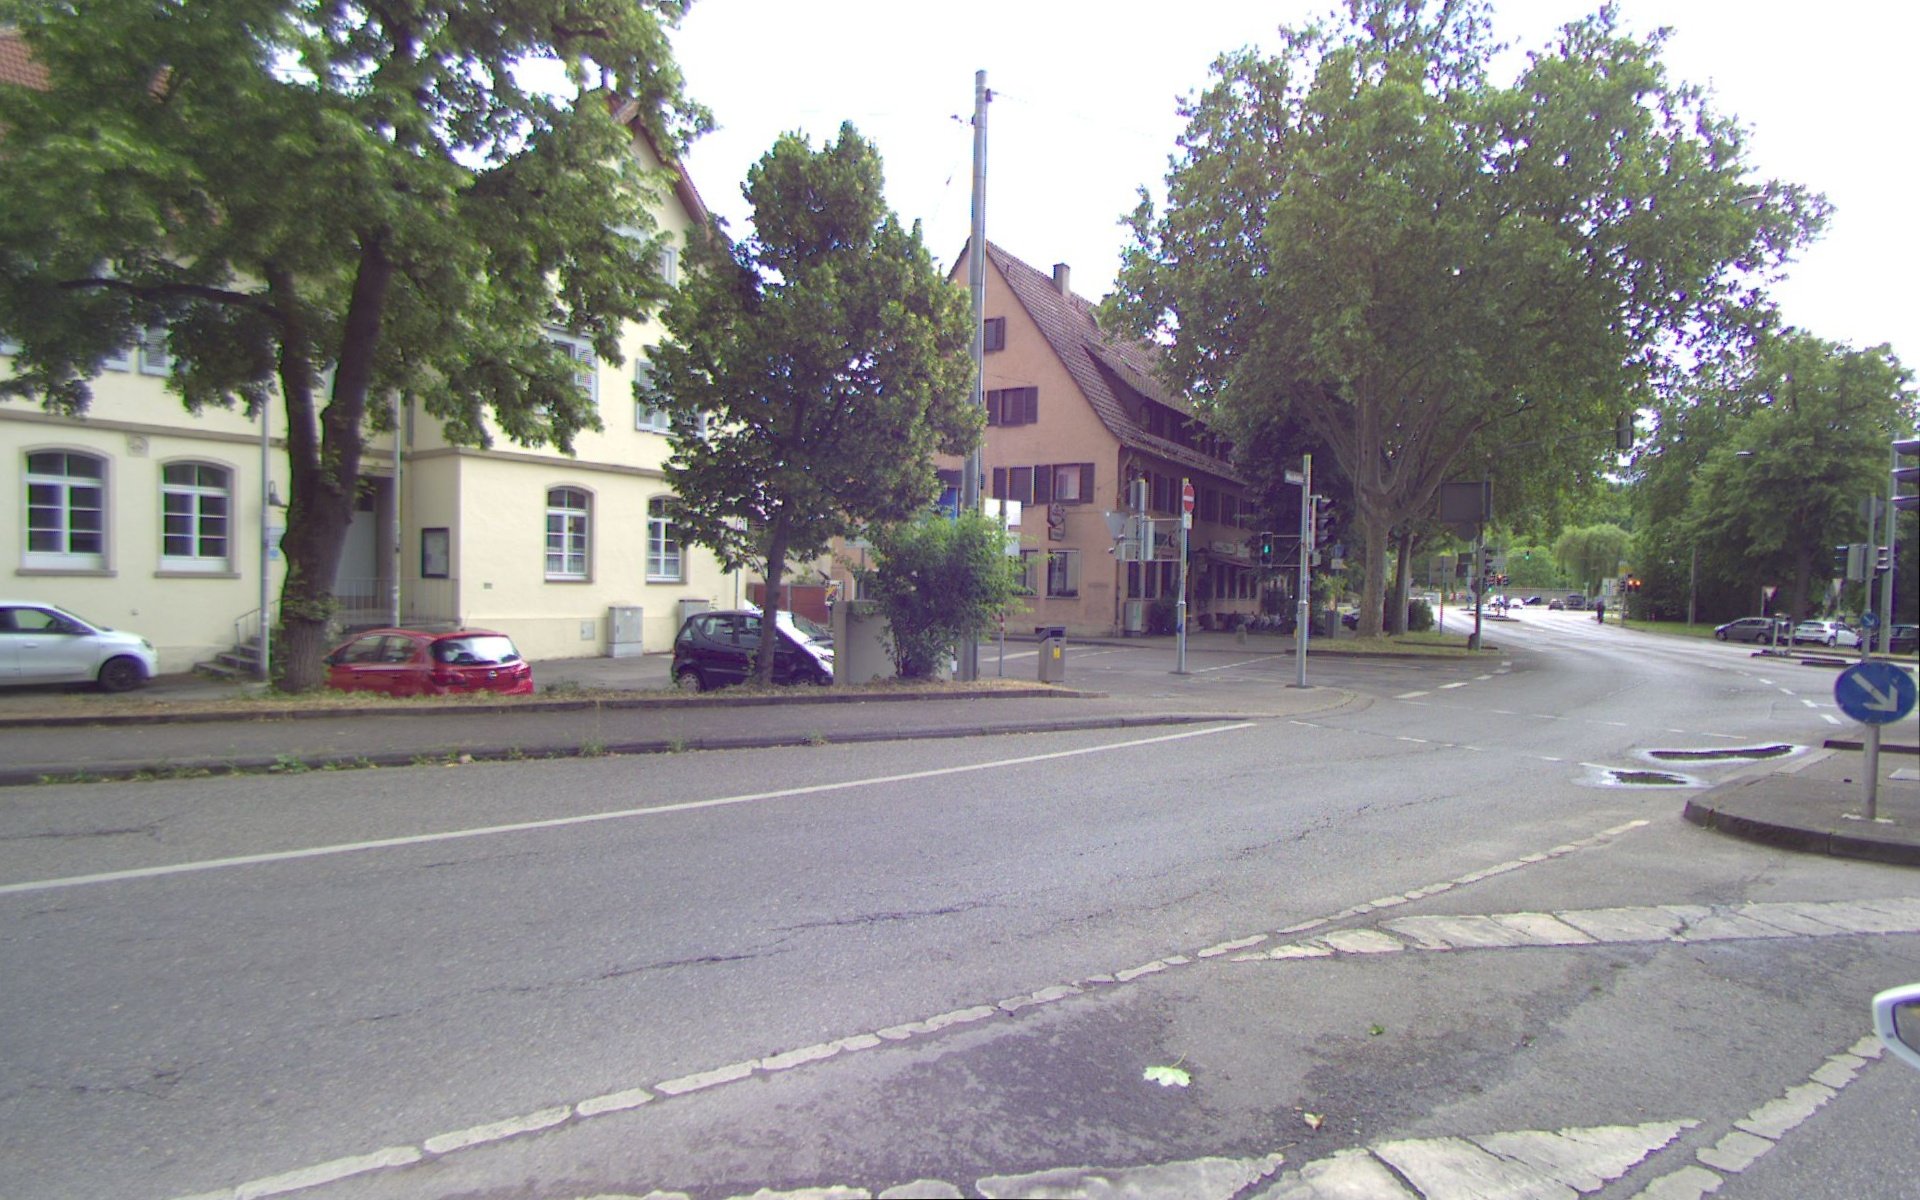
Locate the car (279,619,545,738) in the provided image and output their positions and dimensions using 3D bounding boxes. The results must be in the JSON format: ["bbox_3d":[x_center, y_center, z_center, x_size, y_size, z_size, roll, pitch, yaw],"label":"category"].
[{"bbox_3d":[-7.987,1.049,14.605,3.651,1.401,1.659,2,0,28],"label":"car"}]

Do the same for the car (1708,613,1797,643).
[{"bbox_3d":[44.862,1.569,56.930,1.593,1.485,3.777,1,0,-13],"label":"car"}]

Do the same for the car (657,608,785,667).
[{"bbox_3d":[-7.506,1.128,31.422,3.935,1.625,1.775,2,-1,37],"label":"car"}]

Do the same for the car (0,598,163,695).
[{"bbox_3d":[-15.573,0.742,16.651,1.585,1.499,3.423,2,0,37],"label":"car"}]

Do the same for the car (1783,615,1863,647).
[{"bbox_3d":[48.523,1.725,56.465,3.698,1.662,1.858,1,0,-21],"label":"car"}]

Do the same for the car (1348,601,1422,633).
[{"bbox_3d":[24.960,0.973,59.100,3.923,1.706,1.999,1,0,24],"label":"car"}]

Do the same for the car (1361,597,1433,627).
[{"bbox_3d":[26.628,0.716,61.228,3.923,1.706,1.999,1,0,24],"label":"car"}]

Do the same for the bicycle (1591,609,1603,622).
[{"bbox_3d":[49.500,1.199,78.064,0.548,0.971,2.030,2,0,28],"label":"bicycle"}]

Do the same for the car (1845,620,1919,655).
[{"bbox_3d":[40.890,1.623,43.660,1.746,1.370,3.325,2,0,-4],"label":"car"}]

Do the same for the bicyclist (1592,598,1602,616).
[{"bbox_3d":[49.530,0.556,78.084,0.531,1.360,0.713,2,1,27],"label":"bicyclist"}]

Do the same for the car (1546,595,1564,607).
[{"bbox_3d":[87.496,0.147,147.739,1.963,1.617,3.995,2,0,27],"label":"car"}]

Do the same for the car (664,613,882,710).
[{"bbox_3d":[-3.340,1.028,17.931,3.506,1.459,1.645,2,0,24],"label":"car"}]

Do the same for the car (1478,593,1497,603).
[{"bbox_3d":[84.344,-0.275,160.637,1.553,1.506,3.337,3,0,10],"label":"car"}]
